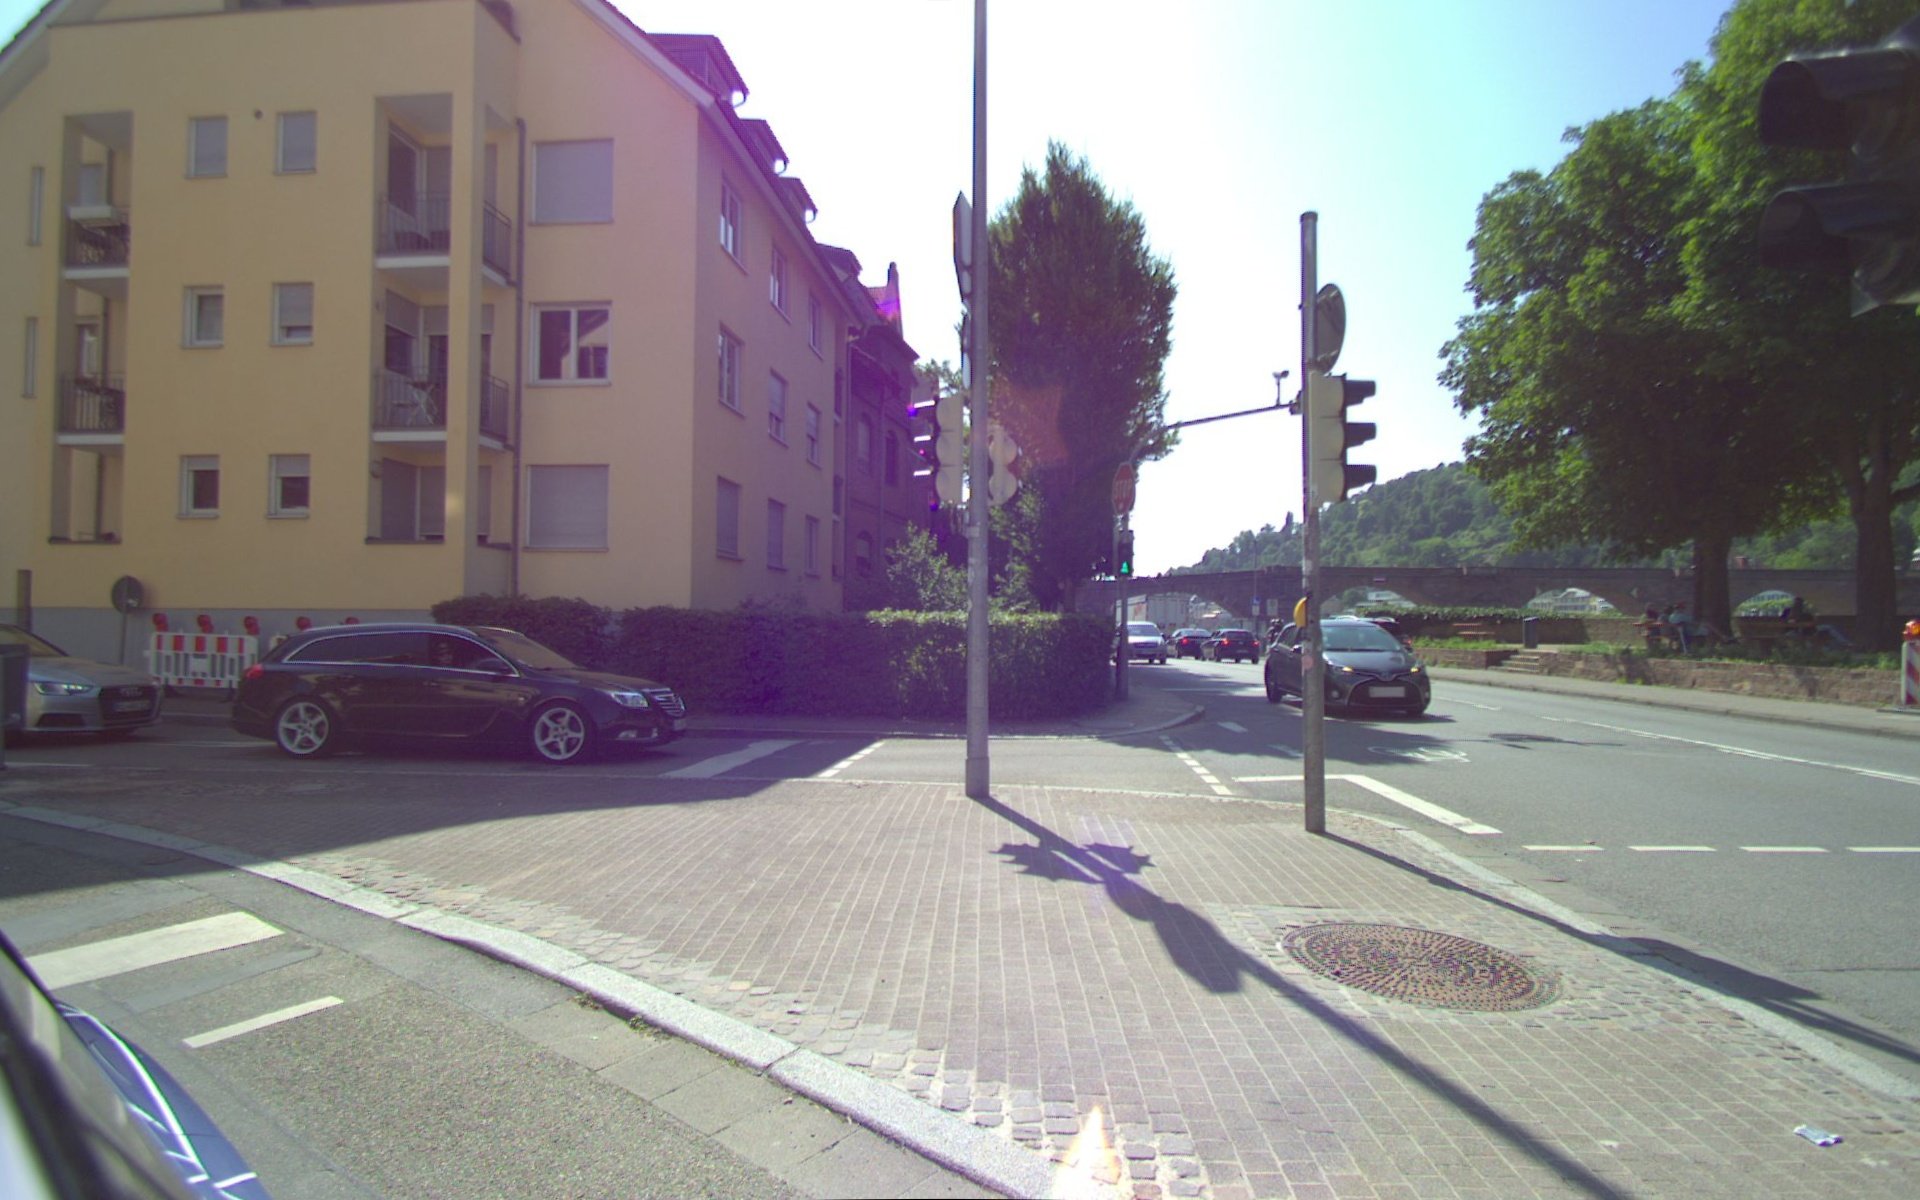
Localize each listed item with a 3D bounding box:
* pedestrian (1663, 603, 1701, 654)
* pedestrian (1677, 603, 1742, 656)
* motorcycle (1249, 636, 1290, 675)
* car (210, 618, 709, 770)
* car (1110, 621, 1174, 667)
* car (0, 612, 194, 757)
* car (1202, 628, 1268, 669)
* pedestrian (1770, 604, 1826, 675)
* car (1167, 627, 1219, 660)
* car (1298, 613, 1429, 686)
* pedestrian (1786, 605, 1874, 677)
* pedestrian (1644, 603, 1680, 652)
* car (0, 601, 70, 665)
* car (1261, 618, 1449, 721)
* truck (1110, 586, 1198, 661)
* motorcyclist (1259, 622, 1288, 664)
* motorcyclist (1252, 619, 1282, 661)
[{"bbox_3d":[18.448,0.733,25.861,0.624,1.280,0.467,1,-2,7],"label":"pedestrian"},{"bbox_3d":[18.707,0.735,25.280,1.209,1.280,0.467,1,-2,7],"label":"pedestrian"},{"bbox_3d":[11.454,2.024,37.571,0.753,1.387,2.471,1,-2,0],"label":"motorcycle"},{"bbox_3d":[-5.341,1.001,11.193,4.661,1.473,1.718,1,-4,2],"label":"car"},{"bbox_3d":[6.838,1.632,38.407,1.669,1.623,3.739,-1,-1,-1],"label":"car"},{"bbox_3d":[-11.626,0.882,11.598,4.324,1.504,1.876,1,-2,2],"label":"car"},{"bbox_3d":[11.547,2.007,42.737,1.974,1.608,3.994,0,-2,4],"label":"car"},{"bbox_3d":[18.259,0.853,22.055,0.795,1.504,0.467,1,-2,7],"label":"pedestrian"},{"bbox_3d":[11.590,2.142,50.554,1.900,1.519,3.994,0,-2,4],"label":"car"},{"bbox_3d":[11.229,1.326,28.548,1.818,1.766,4.409,3,-1,0],"label":"car"},{"bbox_3d":[18.457,0.862,21.483,1.368,1.490,0.467,1,-2,7],"label":"pedestrian"},{"bbox_3d":[18.534,0.733,26.742,0.624,1.280,0.467,1,-2,7],"label":"pedestrian"},{"bbox_3d":[-24.133,0.802,24.302,1.829,1.556,3.994,0,-1,5],"label":"car"},{"bbox_3d":[6.435,1.080,16.965,1.704,1.510,3.878,1,-1,2],"label":"car"},{"bbox_3d":[11.990,1.528,64.041,3.169,4.246,12.762,1,-2,0],"label":"truck"},{"bbox_3d":[11.462,1.559,37.053,0.807,1.504,0.773,1,-2,0],"label":"motorcyclist"},{"bbox_3d":[11.472,1.486,37.843,0.807,1.506,0.874,0,1,0],"label":"motorcyclist"}]
